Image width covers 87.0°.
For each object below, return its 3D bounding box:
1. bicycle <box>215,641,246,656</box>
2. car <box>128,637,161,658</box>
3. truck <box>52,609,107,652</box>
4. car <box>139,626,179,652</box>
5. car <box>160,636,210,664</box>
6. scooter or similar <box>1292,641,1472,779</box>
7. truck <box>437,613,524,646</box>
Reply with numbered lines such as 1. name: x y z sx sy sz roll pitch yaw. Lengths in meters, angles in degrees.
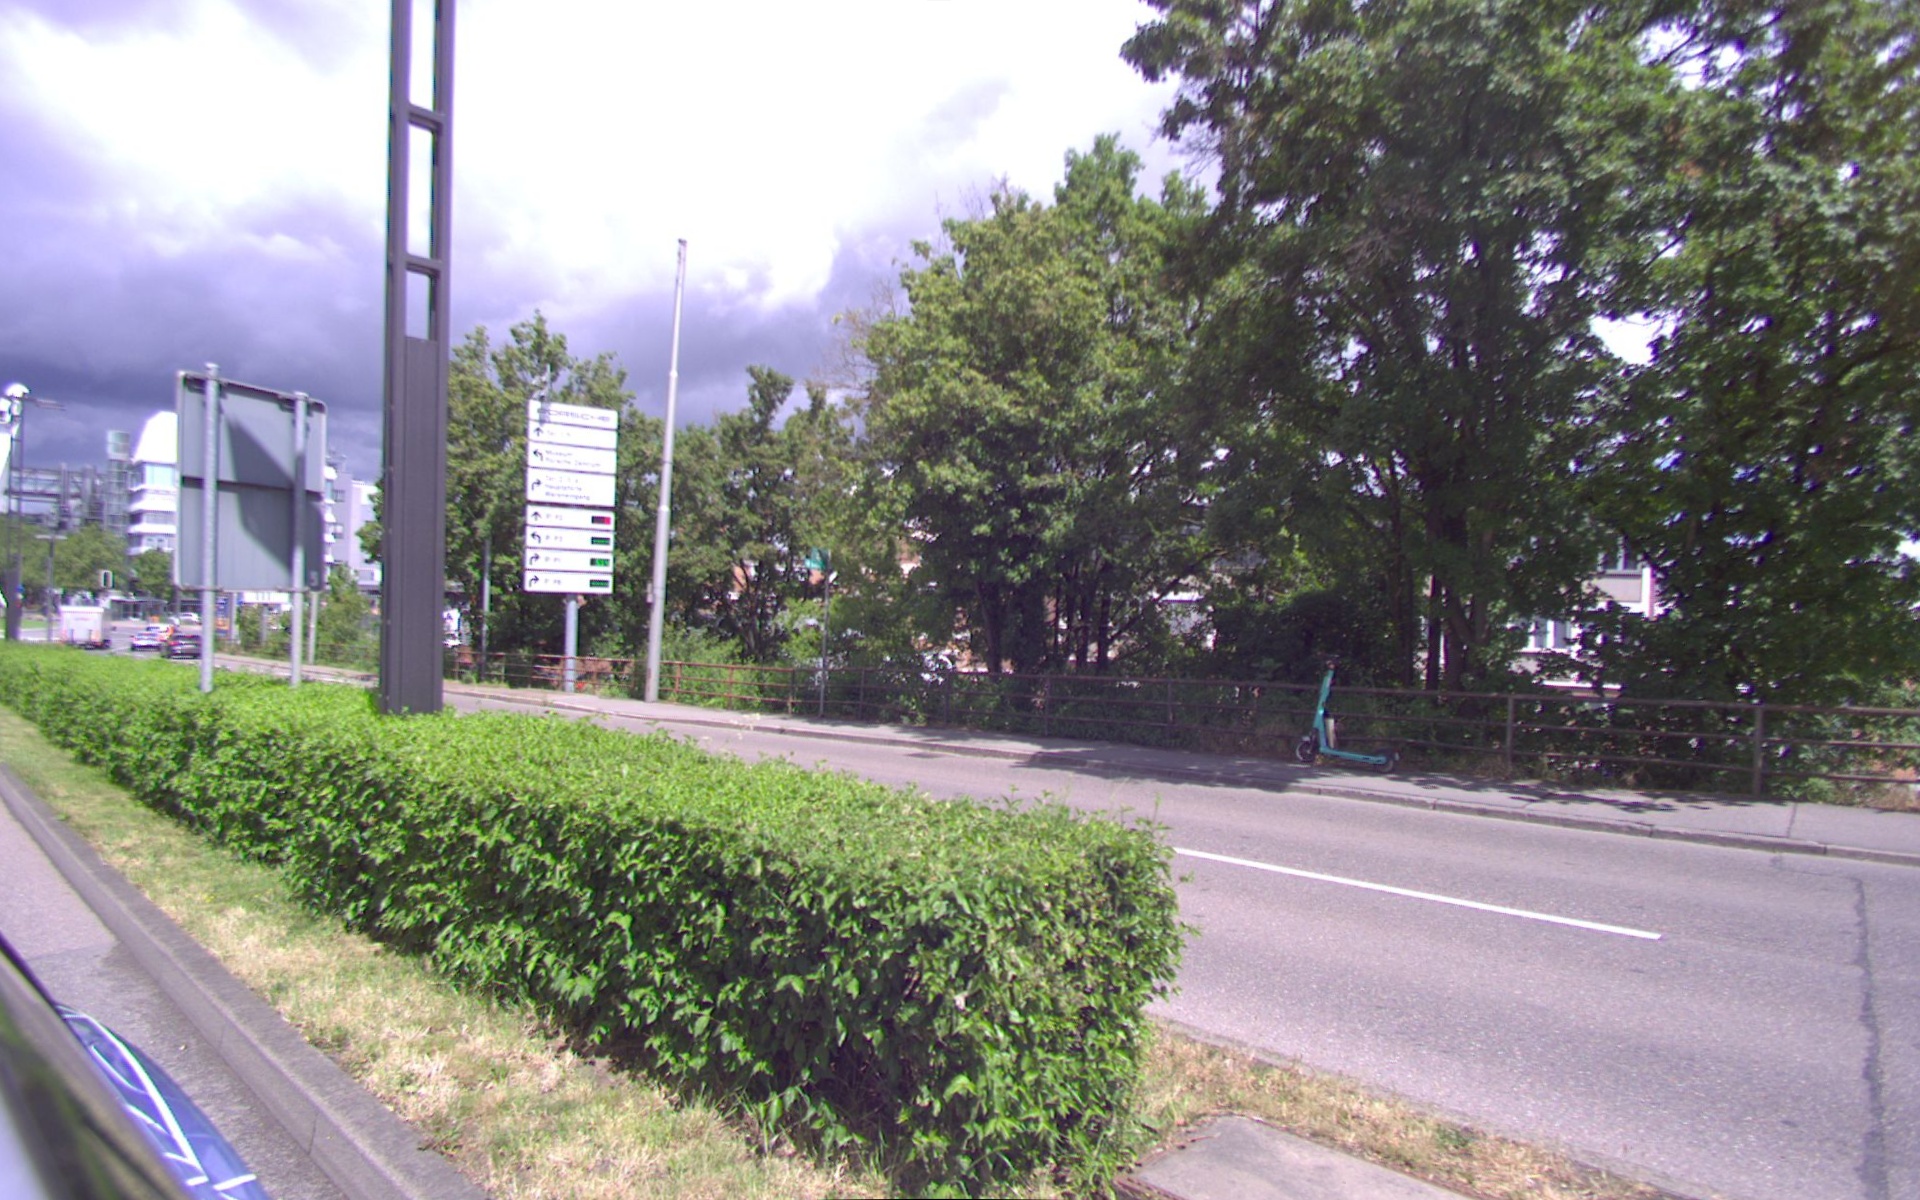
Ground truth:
1. bicycle: -58.841 3.884 81.624 2.011 1.176 0.622 1 -2 -38
2. car: -59.973 3.487 74.486 1.773 1.433 4.501 3 -3 -38
3. truck: -65.443 2.317 75.164 2.821 2.879 9.386 1 -4 -42
4. car: -63.709 3.035 80.564 1.966 1.973 4.641 1 -1 -32
5. car: -44.802 2.856 58.438 1.818 1.519 4.565 2 -3 -43
6. scooter or similar: 4.367 1.095 10.565 1.644 1.314 0.486 -2 -1 45
7. truck: -55.448 3.384 117.127 8.855 3.595 2.363 -1 -1 -3
